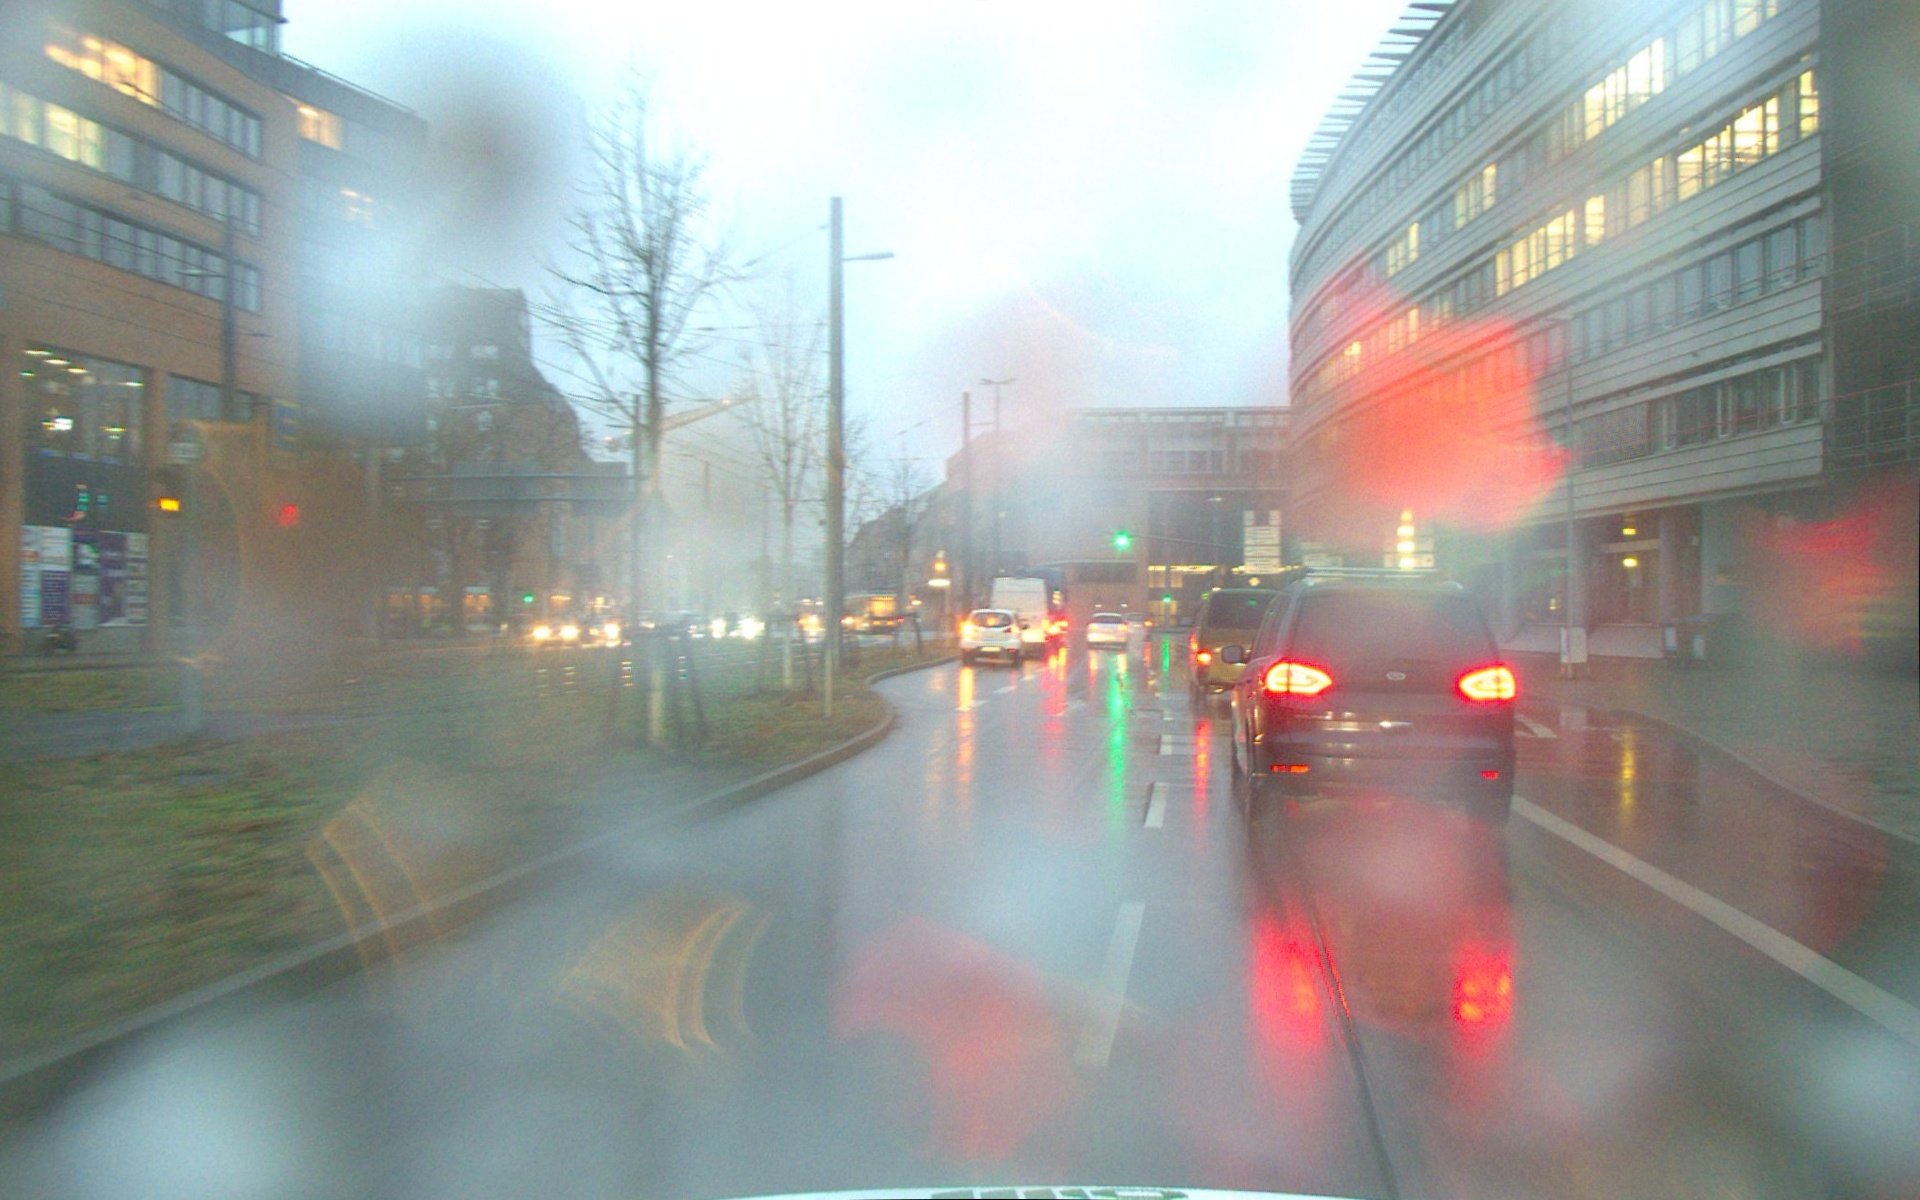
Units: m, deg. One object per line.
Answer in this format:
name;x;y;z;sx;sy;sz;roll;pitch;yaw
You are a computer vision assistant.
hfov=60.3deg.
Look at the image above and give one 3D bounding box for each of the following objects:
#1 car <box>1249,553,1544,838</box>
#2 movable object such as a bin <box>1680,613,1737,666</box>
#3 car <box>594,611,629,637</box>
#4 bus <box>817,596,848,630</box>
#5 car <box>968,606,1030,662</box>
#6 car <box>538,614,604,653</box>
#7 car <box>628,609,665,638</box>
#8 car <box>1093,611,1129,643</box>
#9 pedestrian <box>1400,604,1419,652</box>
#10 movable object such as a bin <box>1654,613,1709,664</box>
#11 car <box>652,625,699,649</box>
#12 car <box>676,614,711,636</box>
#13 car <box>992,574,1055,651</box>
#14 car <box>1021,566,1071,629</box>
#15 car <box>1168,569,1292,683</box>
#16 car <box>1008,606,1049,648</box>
car;3.138;0.623;12.597;1.638;1.811;4.003;0;-1;7
movable object such as a bin;19.191;1.001;42.448;0.827;1.316;1.167;-2;-1;-5
car;-19.318;1.330;91.821;1.477;1.426;3.545;0;-1;-5
bus;-13.332;1.408;172.122;2.770;3.432;7.985;0;-1;-8
car;1.128;0.929;46.853;1.604;1.522;3.687;0;0;4
car;-15.251;1.302;65.082;1.778;1.467;3.954;0;-1;-2
car;-15.421;1.174;81.402;1.477;1.397;3.647;0;-1;-6
car;6.428;1.124;70.319;1.479;1.328;3.042;0;-1;6
pedestrian;16.317;1.008;60.021;0.520;1.712;0.745;0;-1;5
movable object such as a bin;19.094;1.009;43.790;0.827;1.316;1.167;-2;-1;-5
car;-16.832;2.171;97.983;1.692;1.417;4.201;0;-1;5
car;-17.730;1.665;110.279;1.954;1.475;4.311;0;-1;-4
car;2.076;0.426;55.640;1.952;2.470;5.974;0;-1;1
car;4.090;-0.063;79.111;2.306;2.876;6.360;0;-1;2
car;4.635;0.434;28.903;1.805;1.838;4.489;0;-1;5
car;2.565;1.020;62.361;1.486;1.547;3.470;0;-1;1
